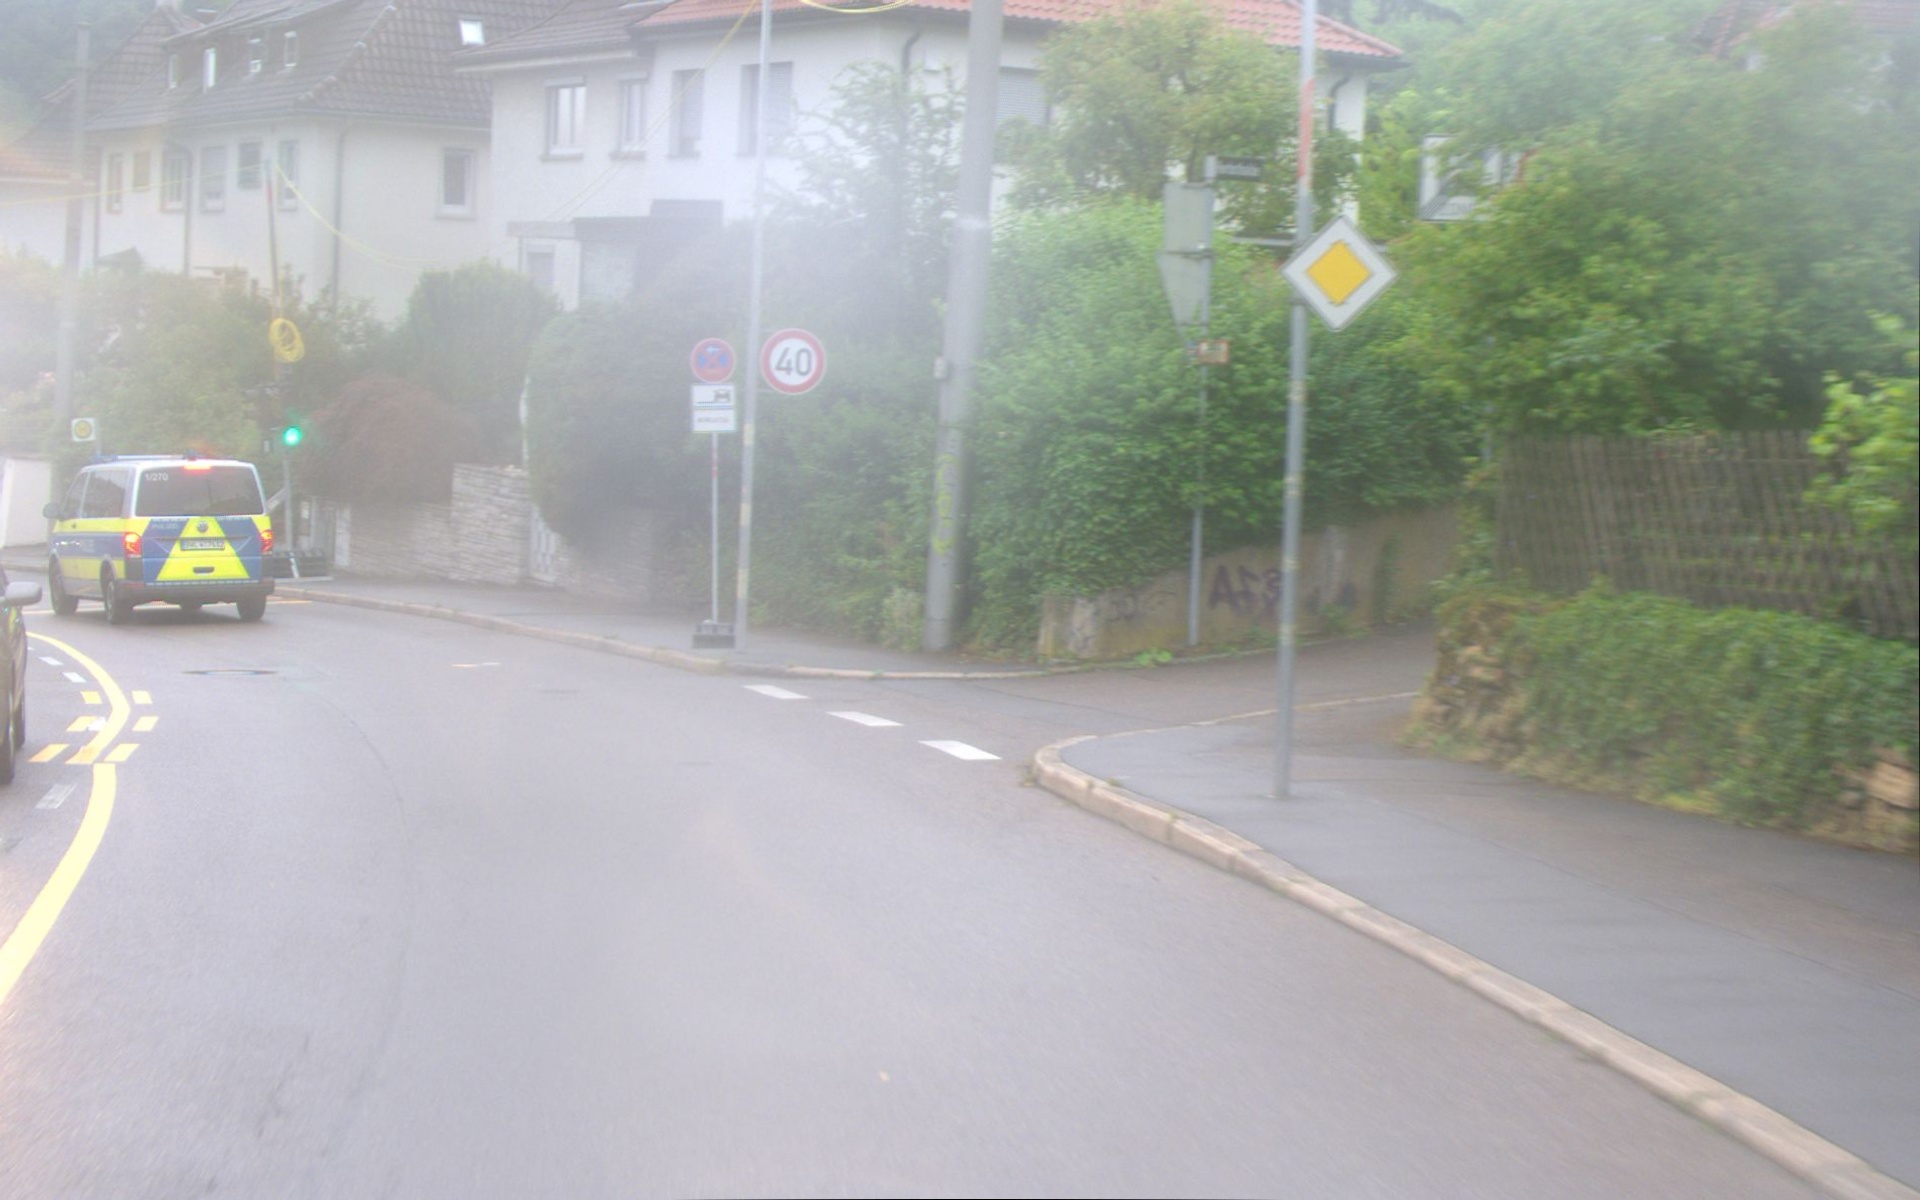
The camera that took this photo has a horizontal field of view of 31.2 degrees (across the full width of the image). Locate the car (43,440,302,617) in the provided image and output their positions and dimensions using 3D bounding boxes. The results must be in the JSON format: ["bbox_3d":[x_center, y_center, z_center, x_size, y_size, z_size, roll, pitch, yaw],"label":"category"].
[{"bbox_3d":[-9.709,-0.938,42.139,2.308,1.932,4.327,-2,4,-23],"label":"car"}]

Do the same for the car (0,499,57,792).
[{"bbox_3d":[-6.338,0.165,20.069,1.789,1.485,4.673,1,2,-12],"label":"car"}]
